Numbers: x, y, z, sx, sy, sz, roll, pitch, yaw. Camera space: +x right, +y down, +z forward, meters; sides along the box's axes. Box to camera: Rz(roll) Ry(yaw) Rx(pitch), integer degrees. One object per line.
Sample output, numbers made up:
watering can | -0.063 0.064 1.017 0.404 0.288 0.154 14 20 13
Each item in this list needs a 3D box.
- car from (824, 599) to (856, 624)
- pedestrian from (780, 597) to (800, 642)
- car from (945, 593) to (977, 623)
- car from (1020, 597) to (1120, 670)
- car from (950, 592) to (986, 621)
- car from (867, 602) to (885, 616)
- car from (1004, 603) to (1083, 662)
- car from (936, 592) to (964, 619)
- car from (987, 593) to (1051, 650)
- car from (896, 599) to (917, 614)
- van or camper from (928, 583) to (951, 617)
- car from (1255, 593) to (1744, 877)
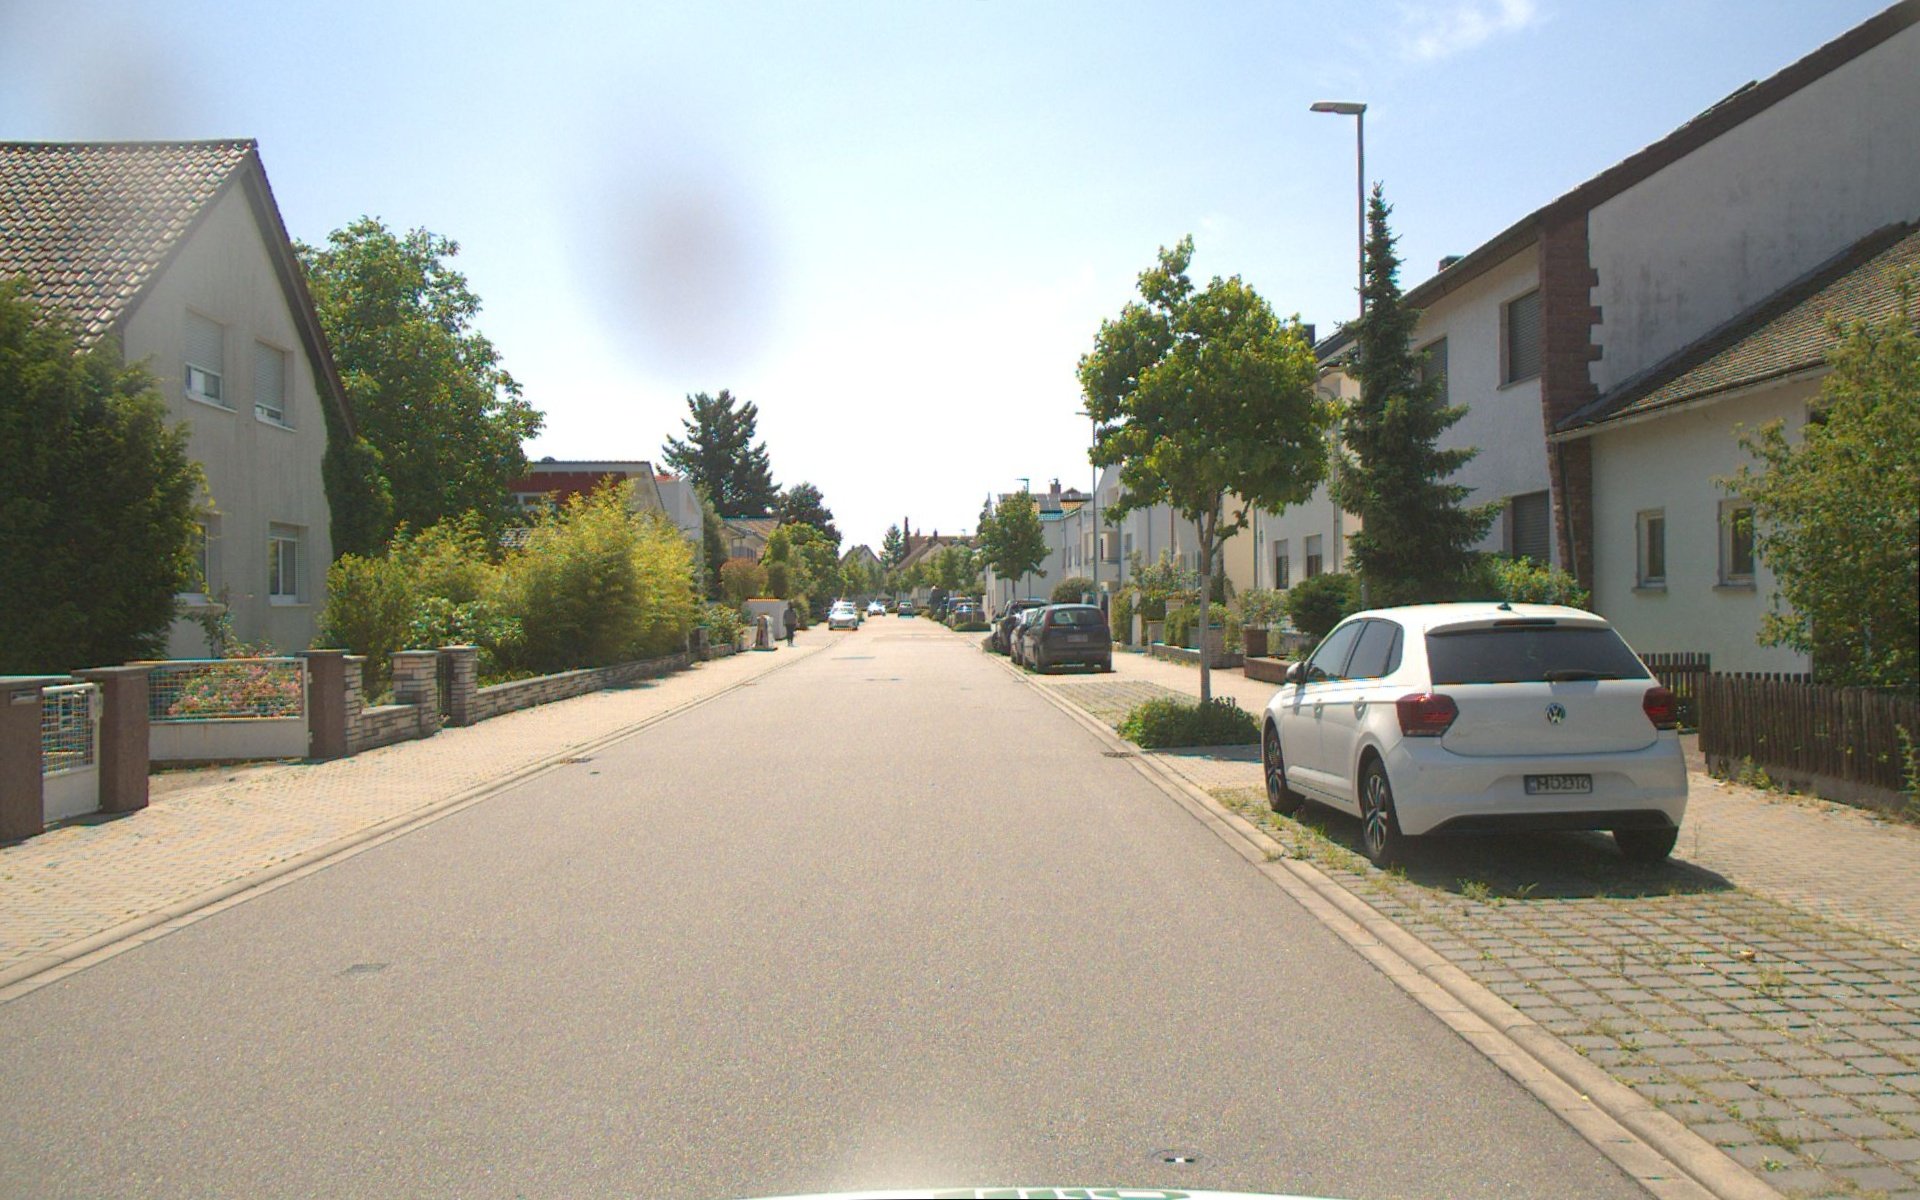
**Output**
car | -7.568 0.691 104.637 1.814 1.514 4.383 -1 0 -2
pedestrian | -6.852 0.781 66.589 0.700 1.778 0.960 -1 0 -2
car | 0.075 0.527 113.158 2.057 1.915 4.841 -1 0 -1
car | 2.466 0.735 38.114 1.707 1.560 4.445 -1 0 -4
car | 0.426 0.368 96.523 1.738 1.623 4.275 -1 0 -4
car | -9.253 0.997 182.567 1.815 1.504 4.699 -1 0 0
car | 2.158 0.825 43.837 1.777 1.445 4.092 -1 0 -1
car | -0.775 0.400 127.343 1.953 1.981 5.212 -2 0 -2
car | 1.842 0.647 53.080 1.777 1.685 4.563 -1 1 -1
car | -5.419 0.639 168.586 1.953 1.455 4.000 -1 0 0
van or camper | -1.929 -0.015 152.217 1.953 2.993 3.998 -1 0 -2
car | 3.168 0.693 10.569 1.777 1.445 3.867 -1 0 -1
